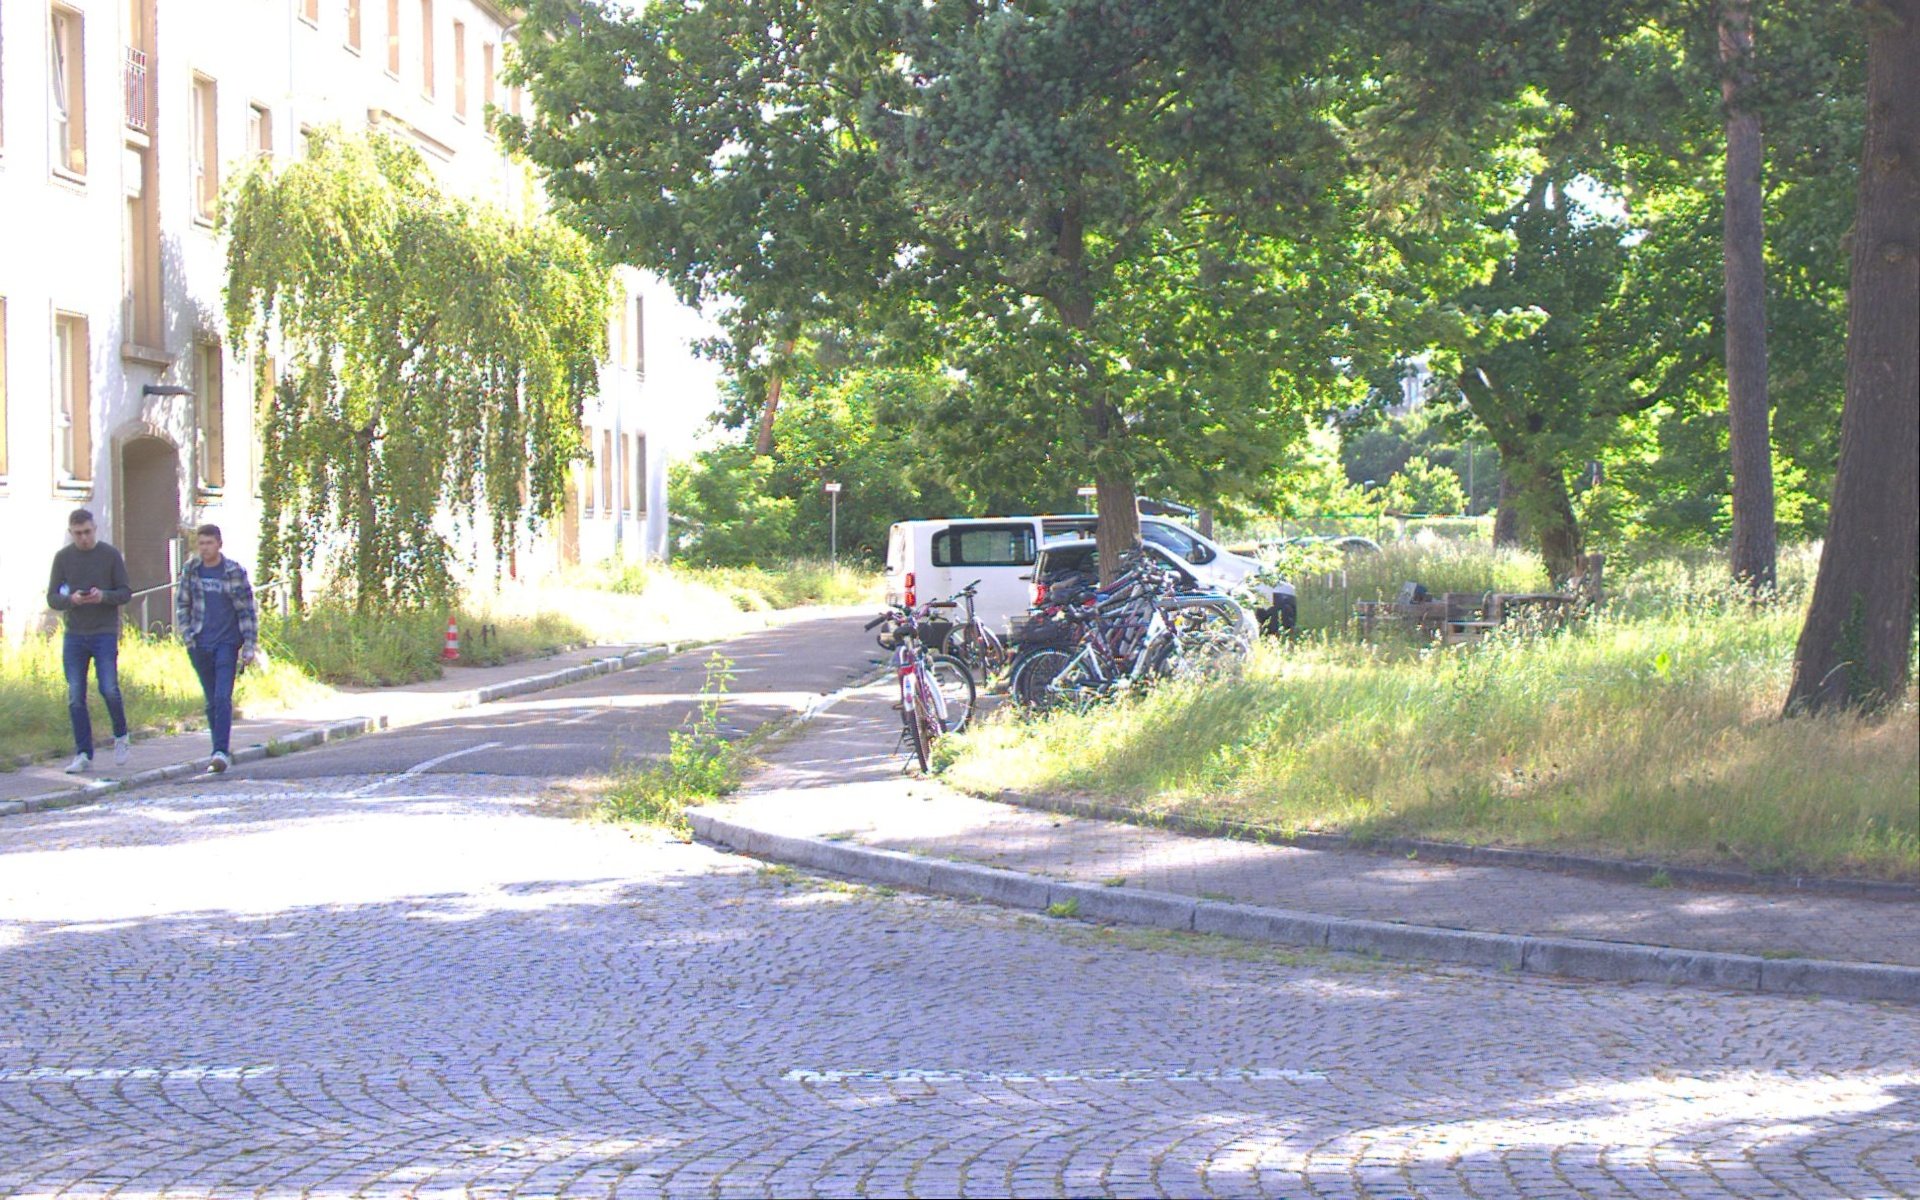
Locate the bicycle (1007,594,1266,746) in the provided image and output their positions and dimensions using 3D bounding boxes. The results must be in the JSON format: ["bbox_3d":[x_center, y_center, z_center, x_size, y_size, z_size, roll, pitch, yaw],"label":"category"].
[{"bbox_3d":[1.347,0.531,26.453,1.941,1.125,0.750,-1,1,0],"label":"bicycle"}]

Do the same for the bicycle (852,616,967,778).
[{"bbox_3d":[-0.311,0.605,22.253,0.695,0.968,1.861,0,1,1],"label":"bicycle"}]

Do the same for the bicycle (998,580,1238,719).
[{"bbox_3d":[1.313,0.406,28.767,1.940,1.125,0.648,-1,1,-2],"label":"bicycle"}]

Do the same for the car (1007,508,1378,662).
[{"bbox_3d":[2.621,-0.189,39.343,3.986,1.678,1.847,-1,1,-5],"label":"car"}]

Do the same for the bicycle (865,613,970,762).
[{"bbox_3d":[-0.285,0.597,24.203,0.695,0.968,1.861,0,1,1],"label":"bicycle"}]

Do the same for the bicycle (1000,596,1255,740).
[{"bbox_3d":[1.236,0.501,25.656,1.854,1.027,0.750,-1,1,0],"label":"bicycle"}]

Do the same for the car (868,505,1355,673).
[{"bbox_3d":[1.851,-0.157,43.724,5.930,2.007,2.476,-1,1,-4],"label":"car"}]

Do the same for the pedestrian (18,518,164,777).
[{"bbox_3d":[-6.158,0.328,24.383,0.812,1.811,0.554,0,1,14],"label":"pedestrian"}]

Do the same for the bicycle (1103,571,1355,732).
[{"bbox_3d":[2.113,0.402,27.103,1.941,1.231,0.485,-1,1,0],"label":"bicycle"}]

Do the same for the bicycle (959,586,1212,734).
[{"bbox_3d":[1.015,0.470,27.677,1.940,1.125,0.648,-1,1,-24],"label":"bicycle"}]

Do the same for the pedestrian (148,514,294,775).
[{"bbox_3d":[-5.215,0.308,24.278,0.767,1.811,0.682,0,1,14],"label":"pedestrian"}]
